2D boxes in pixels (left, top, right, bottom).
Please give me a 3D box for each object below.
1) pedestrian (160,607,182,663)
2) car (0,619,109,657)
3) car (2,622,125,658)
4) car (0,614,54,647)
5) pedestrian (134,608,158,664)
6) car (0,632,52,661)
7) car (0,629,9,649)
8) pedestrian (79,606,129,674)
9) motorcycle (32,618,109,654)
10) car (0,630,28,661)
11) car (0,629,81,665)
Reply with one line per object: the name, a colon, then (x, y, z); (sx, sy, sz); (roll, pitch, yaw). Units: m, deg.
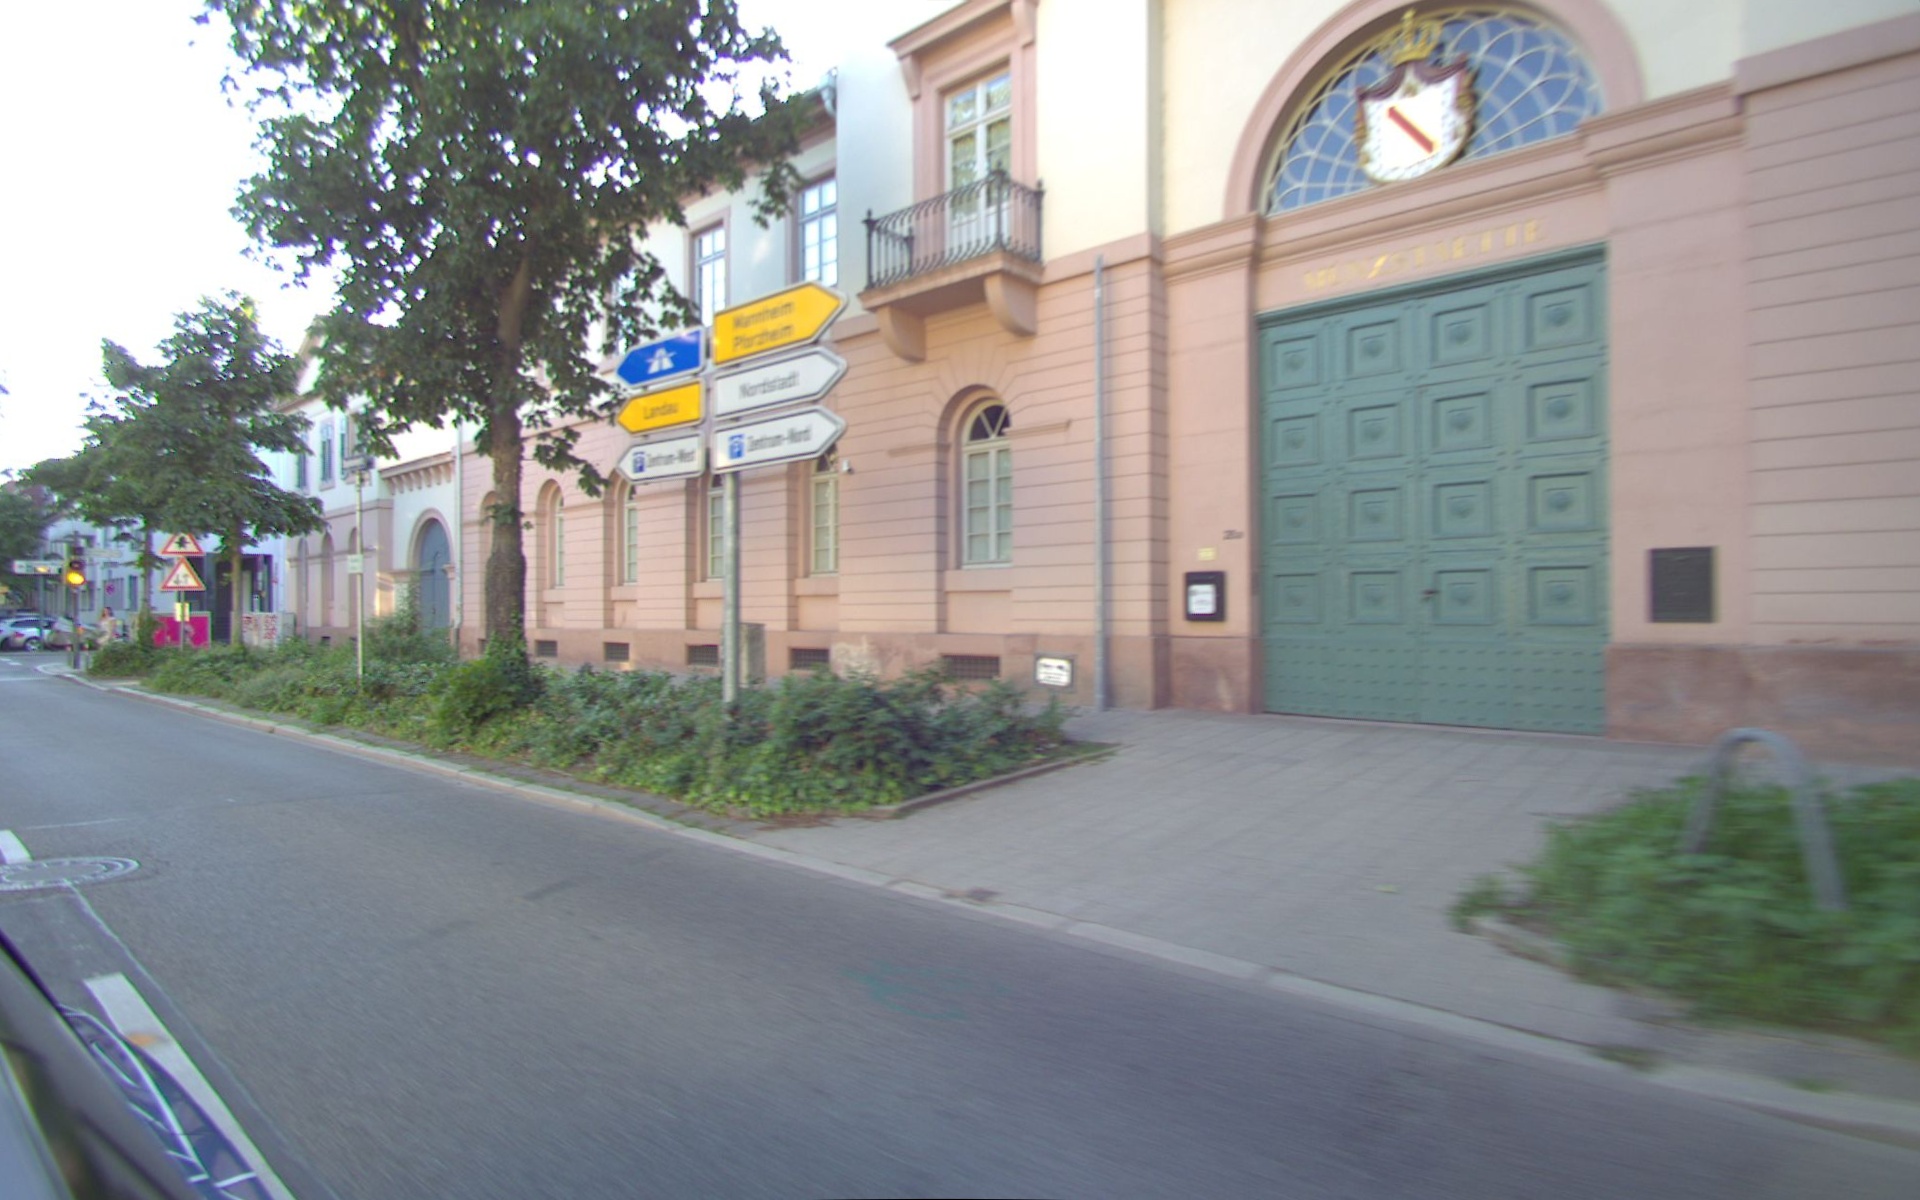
pedestrian: (-26.871, 1.179, 34.473); (0.546, 1.864, 0.613); (0, -1, -35)
car: (-40.132, 1.669, 44.650); (1.734, 1.469, 3.703); (-2, 0, 41)
car: (-37.999, 1.662, 42.940); (1.843, 1.321, 3.701); (-2, 0, 41)
car: (-55.101, 1.771, 57.942); (2.155, 1.778, 4.617); (-2, -1, 41)
pedestrian: (-27.428, 1.200, 34.105); (0.546, 1.864, 0.613); (1, -2, -34)
car: (-53.287, 2.631, 56.322); (1.781, 1.505, 3.983); (-2, 0, 45)
car: (-73.615, 2.987, 74.966); (1.716, 1.417, 4.382); (0, 1, 38)
pedestrian: (-23.687, 1.092, 28.021); (0.779, 1.804, 0.773); (-3, 0, -21)
motorcycle: (-35.920, 1.440, 40.906); (2.118, 1.430, 0.971); (1, -2, -27)
car: (-64.925, 3.046, 66.715); (2.188, 2.006, 4.939); (-2, -2, 40)
car: (-45.108, 2.255, 48.725); (1.936, 1.644, 4.049); (-2, -1, 43)
